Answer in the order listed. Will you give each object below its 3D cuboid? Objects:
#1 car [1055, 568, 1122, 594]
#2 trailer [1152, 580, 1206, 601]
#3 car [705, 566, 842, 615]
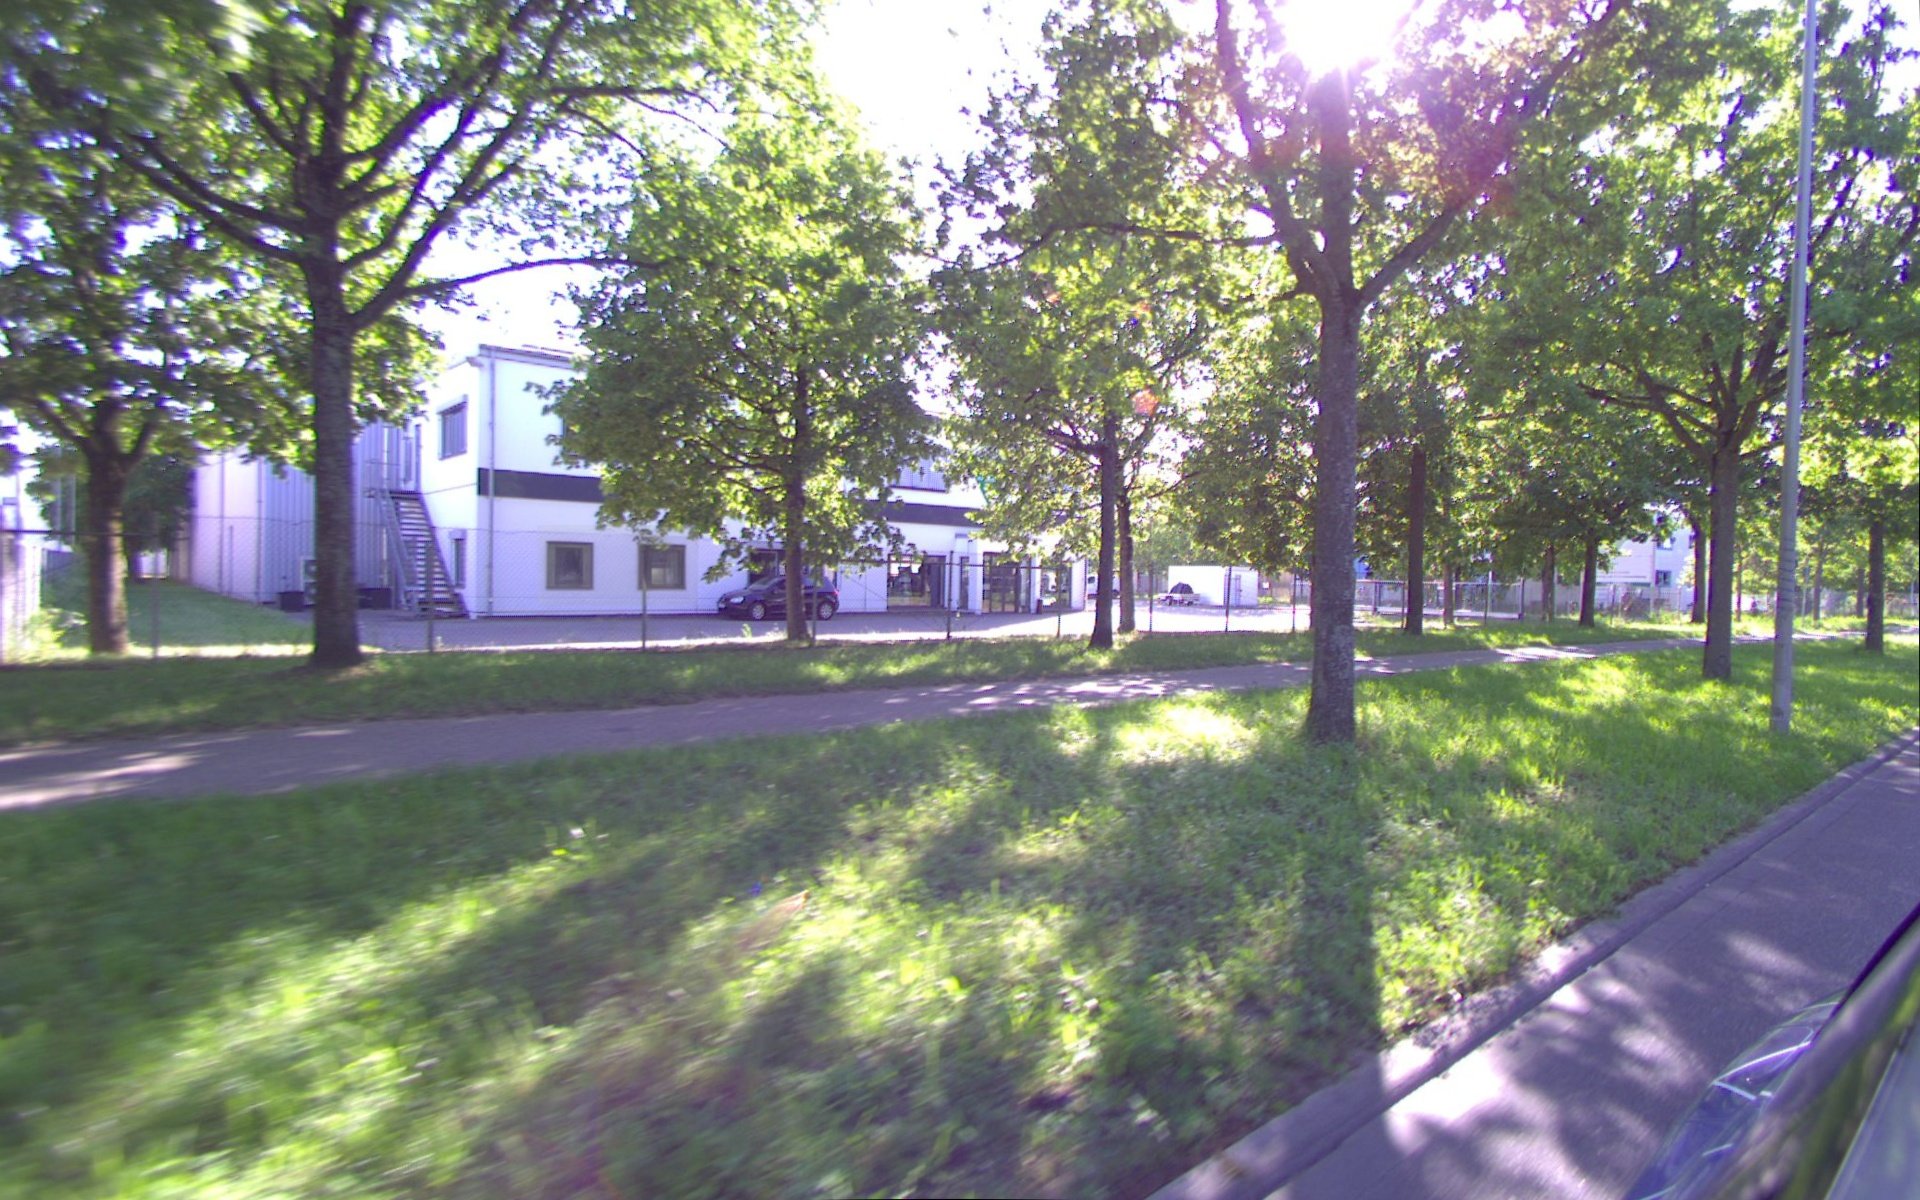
[{"bbox_3d":[10.275,-1.522,81.083,5.009,2.039,2.004,0,0,-24],"label":"car"},{"bbox_3d":[14.598,-0.667,67.614,1.695,1.282,3.604,1,1,-23],"label":"trailer"},{"bbox_3d":[-6.057,-0.312,33.094,4.084,1.525,1.719,-1,0,-39],"label":"car"}]
